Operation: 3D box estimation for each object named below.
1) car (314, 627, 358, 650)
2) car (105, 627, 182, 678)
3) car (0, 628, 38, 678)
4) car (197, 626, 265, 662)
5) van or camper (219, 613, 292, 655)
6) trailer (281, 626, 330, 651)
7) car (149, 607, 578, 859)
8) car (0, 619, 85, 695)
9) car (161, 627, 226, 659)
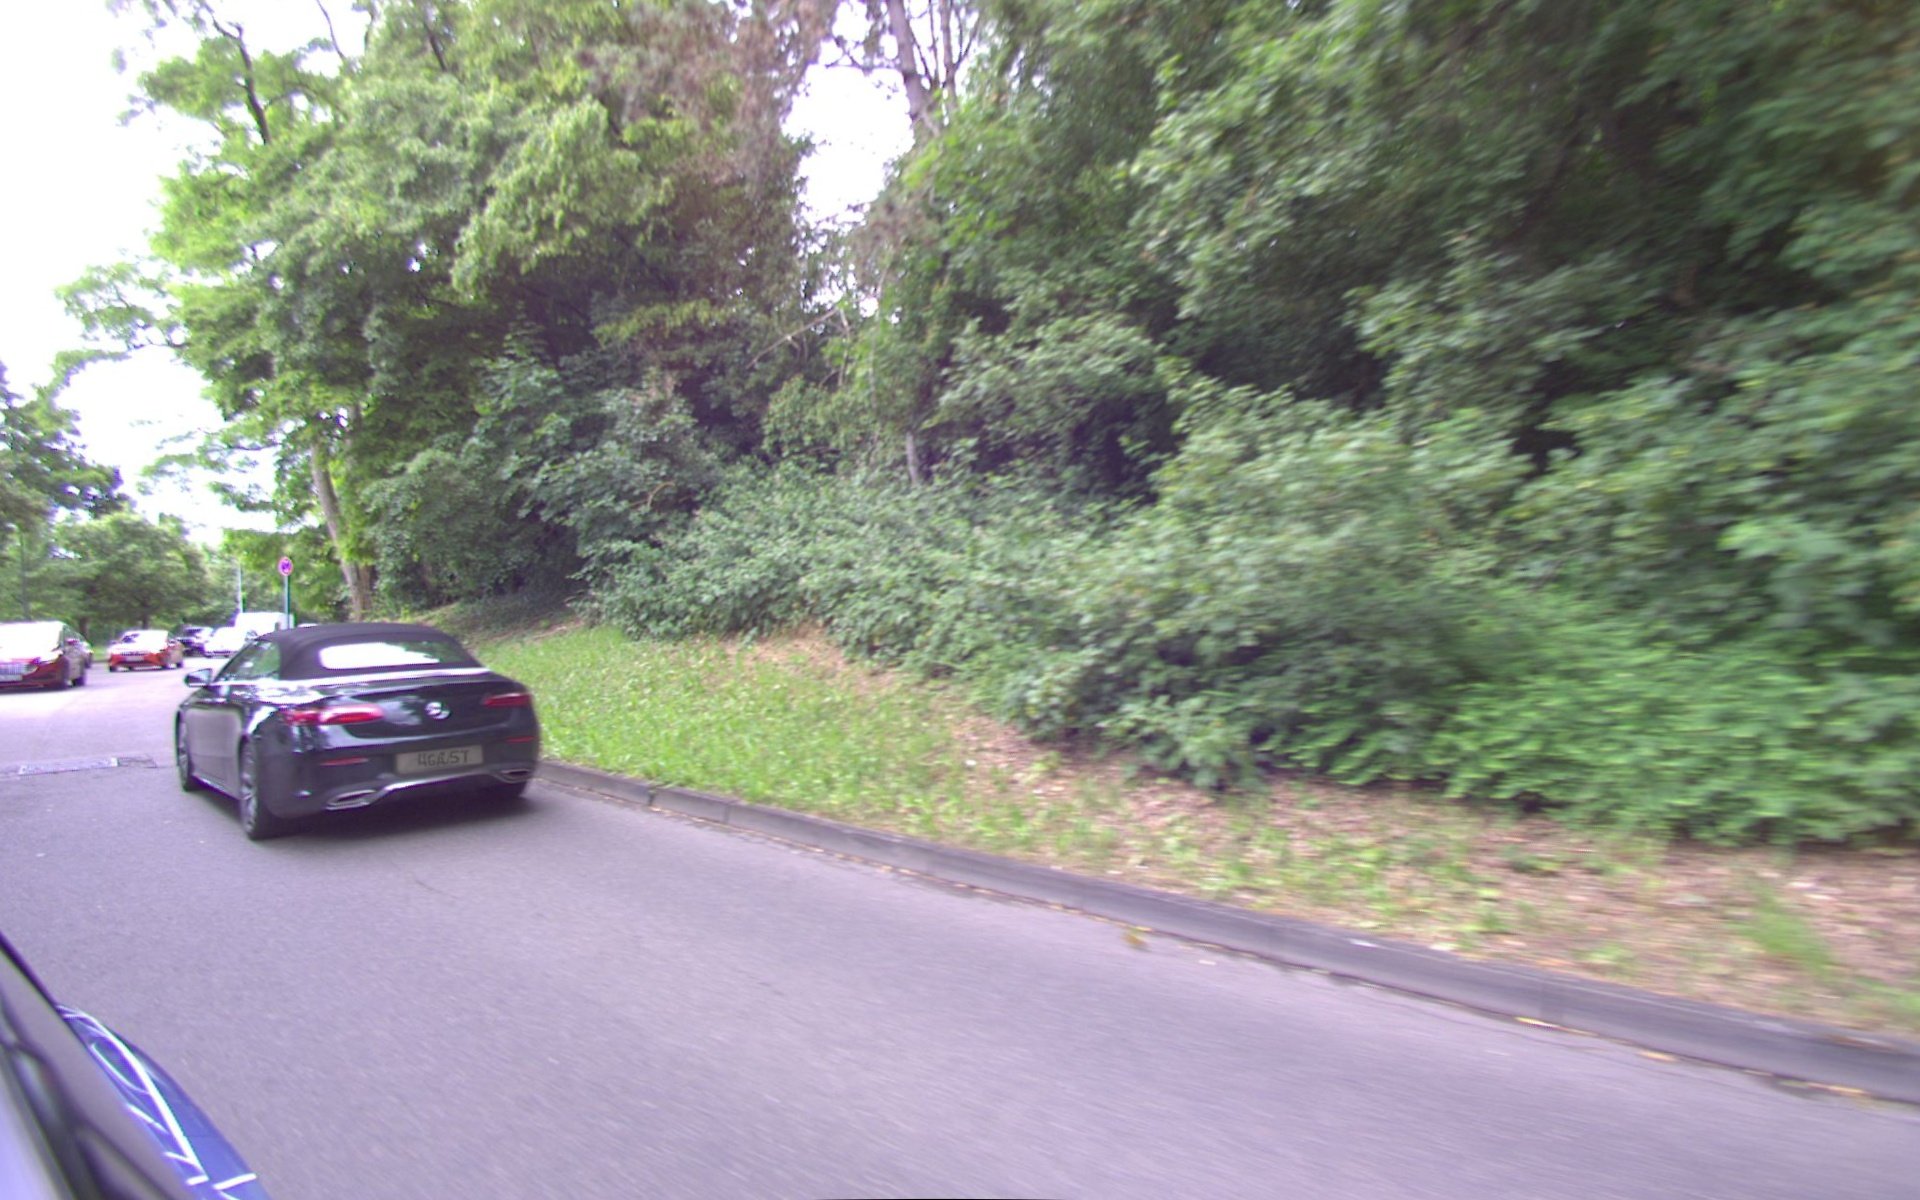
[{"bbox_3d":[-44.467,2.721,72.219,1.774,1.501,4.012,0,-1,-18],"label":"car"},{"bbox_3d":[-29.775,1.886,37.015,1.837,1.459,4.187,2,2,-35],"label":"car"},{"bbox_3d":[-31.933,1.714,33.181,1.717,1.537,4.649,0,-1,-32],"label":"car"},{"bbox_3d":[-39.067,2.336,54.310,1.891,1.694,4.013,0,0,-19],"label":"car"},{"bbox_3d":[-46.880,2.185,67.495,2.131,2.555,6.049,-2,0,-17],"label":"van or camper"},{"bbox_3d":[-49.358,2.888,76.362,1.748,1.744,4.663,0,0,-15],"label":"trailer"},{"bbox_3d":[-4.992,0.800,8.153,4.492,1.399,1.771,0,2,44],"label":"car"},{"bbox_3d":[-22.603,1.340,24.444,1.968,1.640,4.635,-2,0,-38],"label":"car"},{"bbox_3d":[-43.654,2.425,57.746,1.822,1.655,4.545,-1,-1,-22],"label":"car"}]
